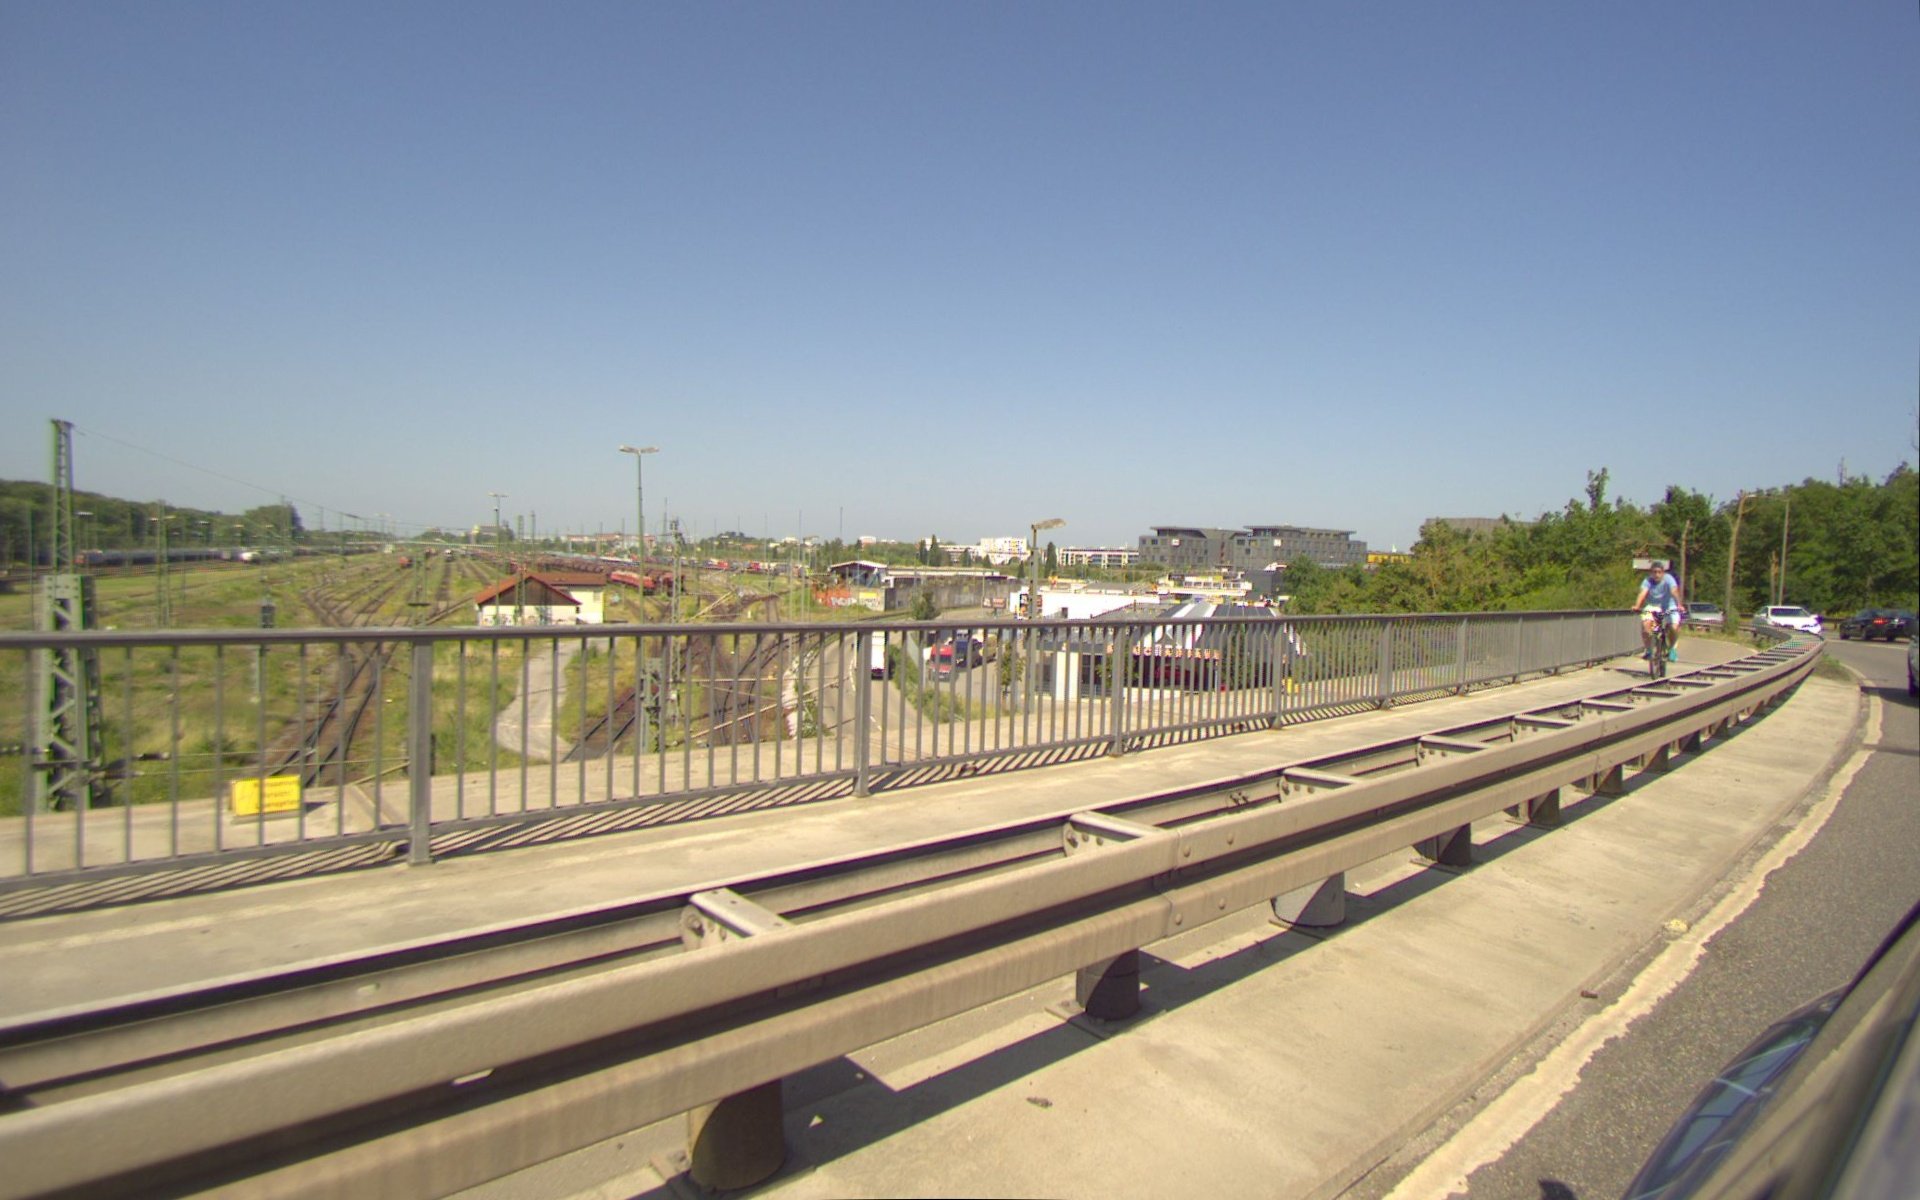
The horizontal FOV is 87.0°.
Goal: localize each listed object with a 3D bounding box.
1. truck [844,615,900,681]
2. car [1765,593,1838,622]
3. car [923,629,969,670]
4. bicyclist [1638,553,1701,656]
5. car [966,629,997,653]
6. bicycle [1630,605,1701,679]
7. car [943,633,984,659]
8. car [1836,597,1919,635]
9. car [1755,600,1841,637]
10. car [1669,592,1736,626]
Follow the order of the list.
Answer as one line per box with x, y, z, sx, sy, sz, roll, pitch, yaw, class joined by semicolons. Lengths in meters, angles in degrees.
-7.009;3.735;82.873;3.748;4.079;13.281;3;2;-2;truck
44.279;0.365;53.327;1.702;1.415;4.152;1;1;22;car
-1.059;3.918;81.325;2.274;2.696;5.359;-4;1;13;car
11.140;0.049;15.880;0.657;1.538;0.792;5;4;39;bicyclist
2.001;3.792;93.583;1.970;1.895;3.984;-4;-1;13;car
11.148;0.626;15.964;0.701;1.032;1.819;6;4;39;bicycle
0.336;3.960;87.483;2.273;1.695;5.359;-4;2;13;car
38.450;0.661;42.479;1.730;1.475;4.252;1;0;30;car
36.135;0.748;43.755;1.828;1.507;4.116;1;0;25;car
41.256;0.466;56.328;1.977;1.605;3.970;-5;0;23;car
